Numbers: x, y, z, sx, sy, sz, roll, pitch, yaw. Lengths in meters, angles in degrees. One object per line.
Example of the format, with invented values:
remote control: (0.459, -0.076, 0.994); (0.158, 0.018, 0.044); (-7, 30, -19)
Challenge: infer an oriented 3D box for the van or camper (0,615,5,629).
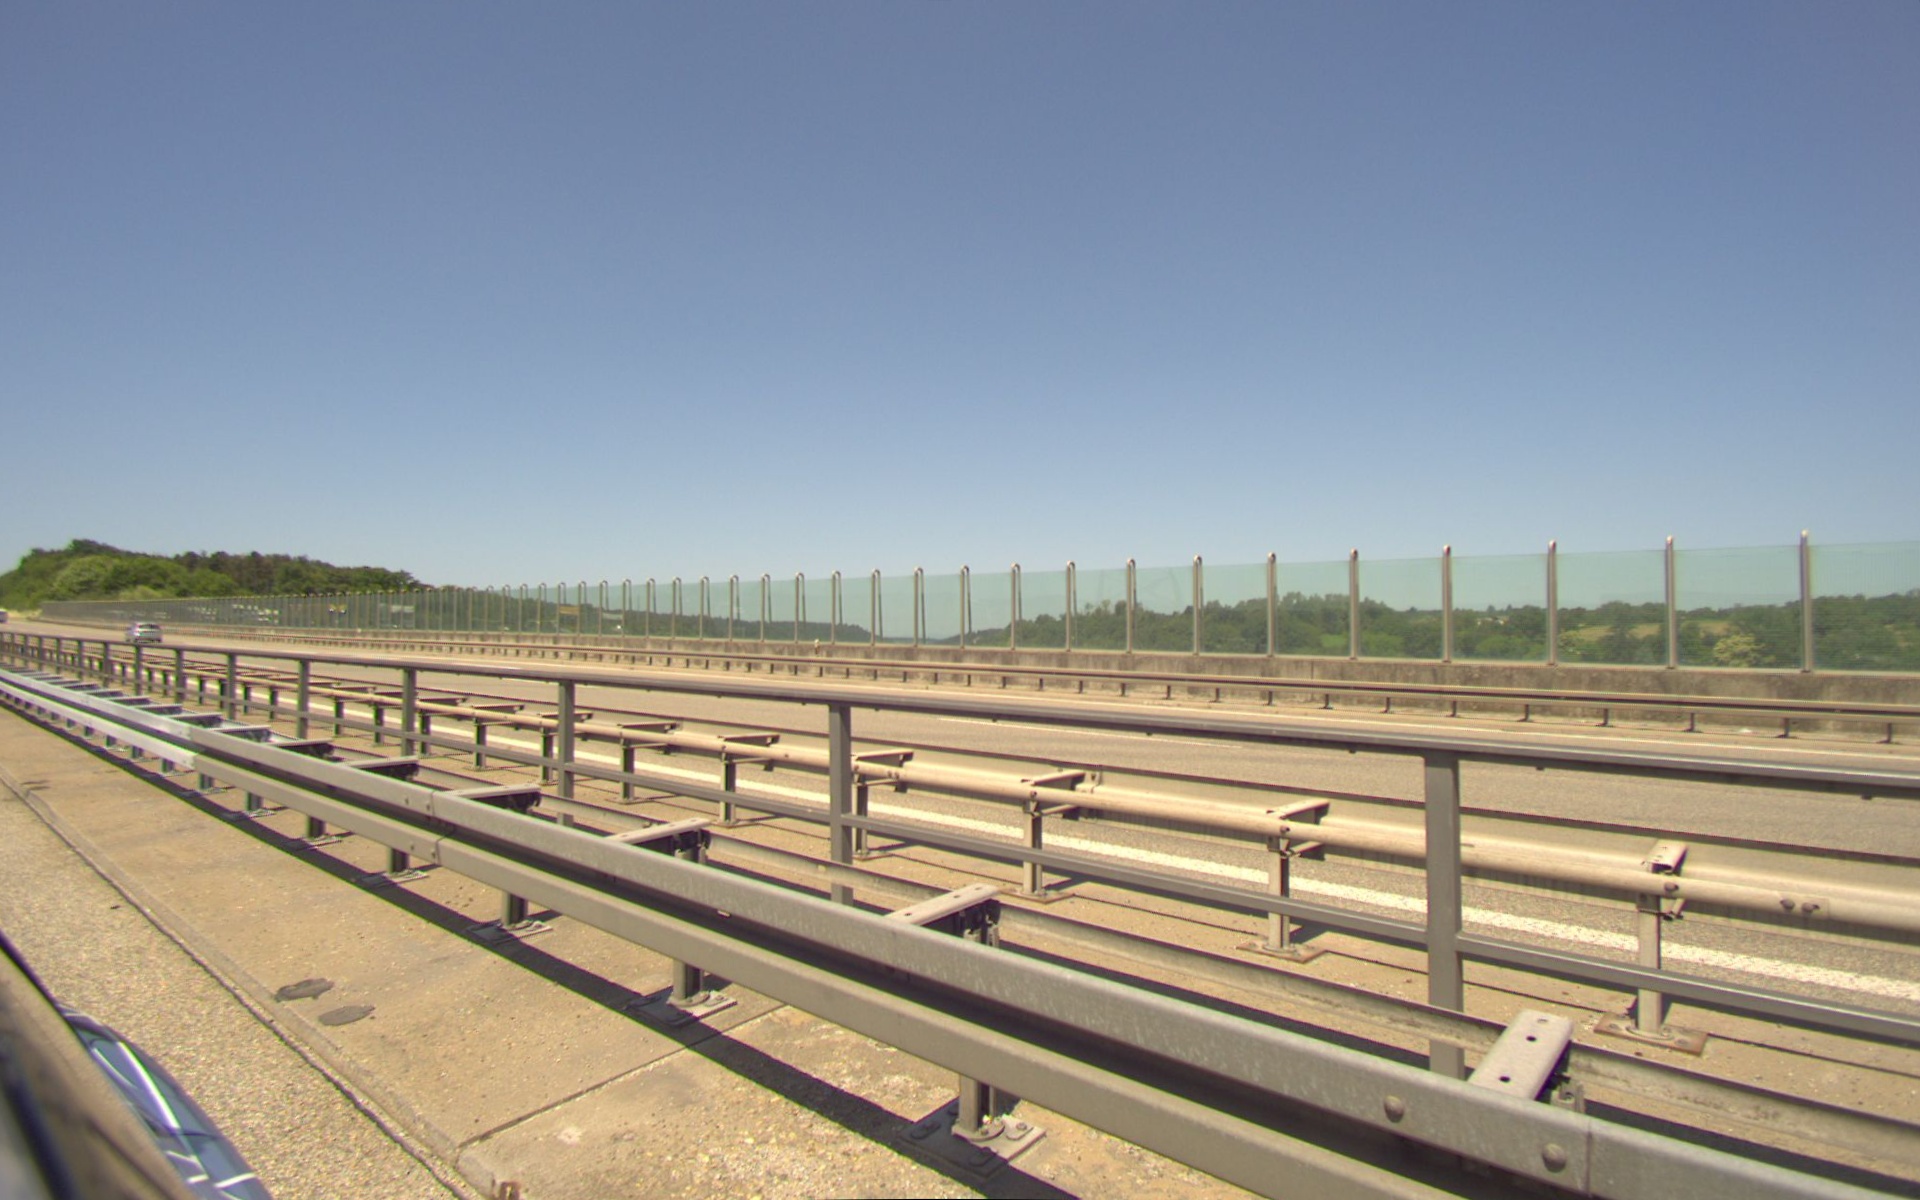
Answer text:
van or camper: (-152.896, 3.477, 160.110); (5.534, 2.228, 1.973); (-1, -4, 41)

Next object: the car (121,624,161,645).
car: (-59.342, 2.485, 73.324); (3.675, 1.405, 1.587); (-1, -3, 41)
